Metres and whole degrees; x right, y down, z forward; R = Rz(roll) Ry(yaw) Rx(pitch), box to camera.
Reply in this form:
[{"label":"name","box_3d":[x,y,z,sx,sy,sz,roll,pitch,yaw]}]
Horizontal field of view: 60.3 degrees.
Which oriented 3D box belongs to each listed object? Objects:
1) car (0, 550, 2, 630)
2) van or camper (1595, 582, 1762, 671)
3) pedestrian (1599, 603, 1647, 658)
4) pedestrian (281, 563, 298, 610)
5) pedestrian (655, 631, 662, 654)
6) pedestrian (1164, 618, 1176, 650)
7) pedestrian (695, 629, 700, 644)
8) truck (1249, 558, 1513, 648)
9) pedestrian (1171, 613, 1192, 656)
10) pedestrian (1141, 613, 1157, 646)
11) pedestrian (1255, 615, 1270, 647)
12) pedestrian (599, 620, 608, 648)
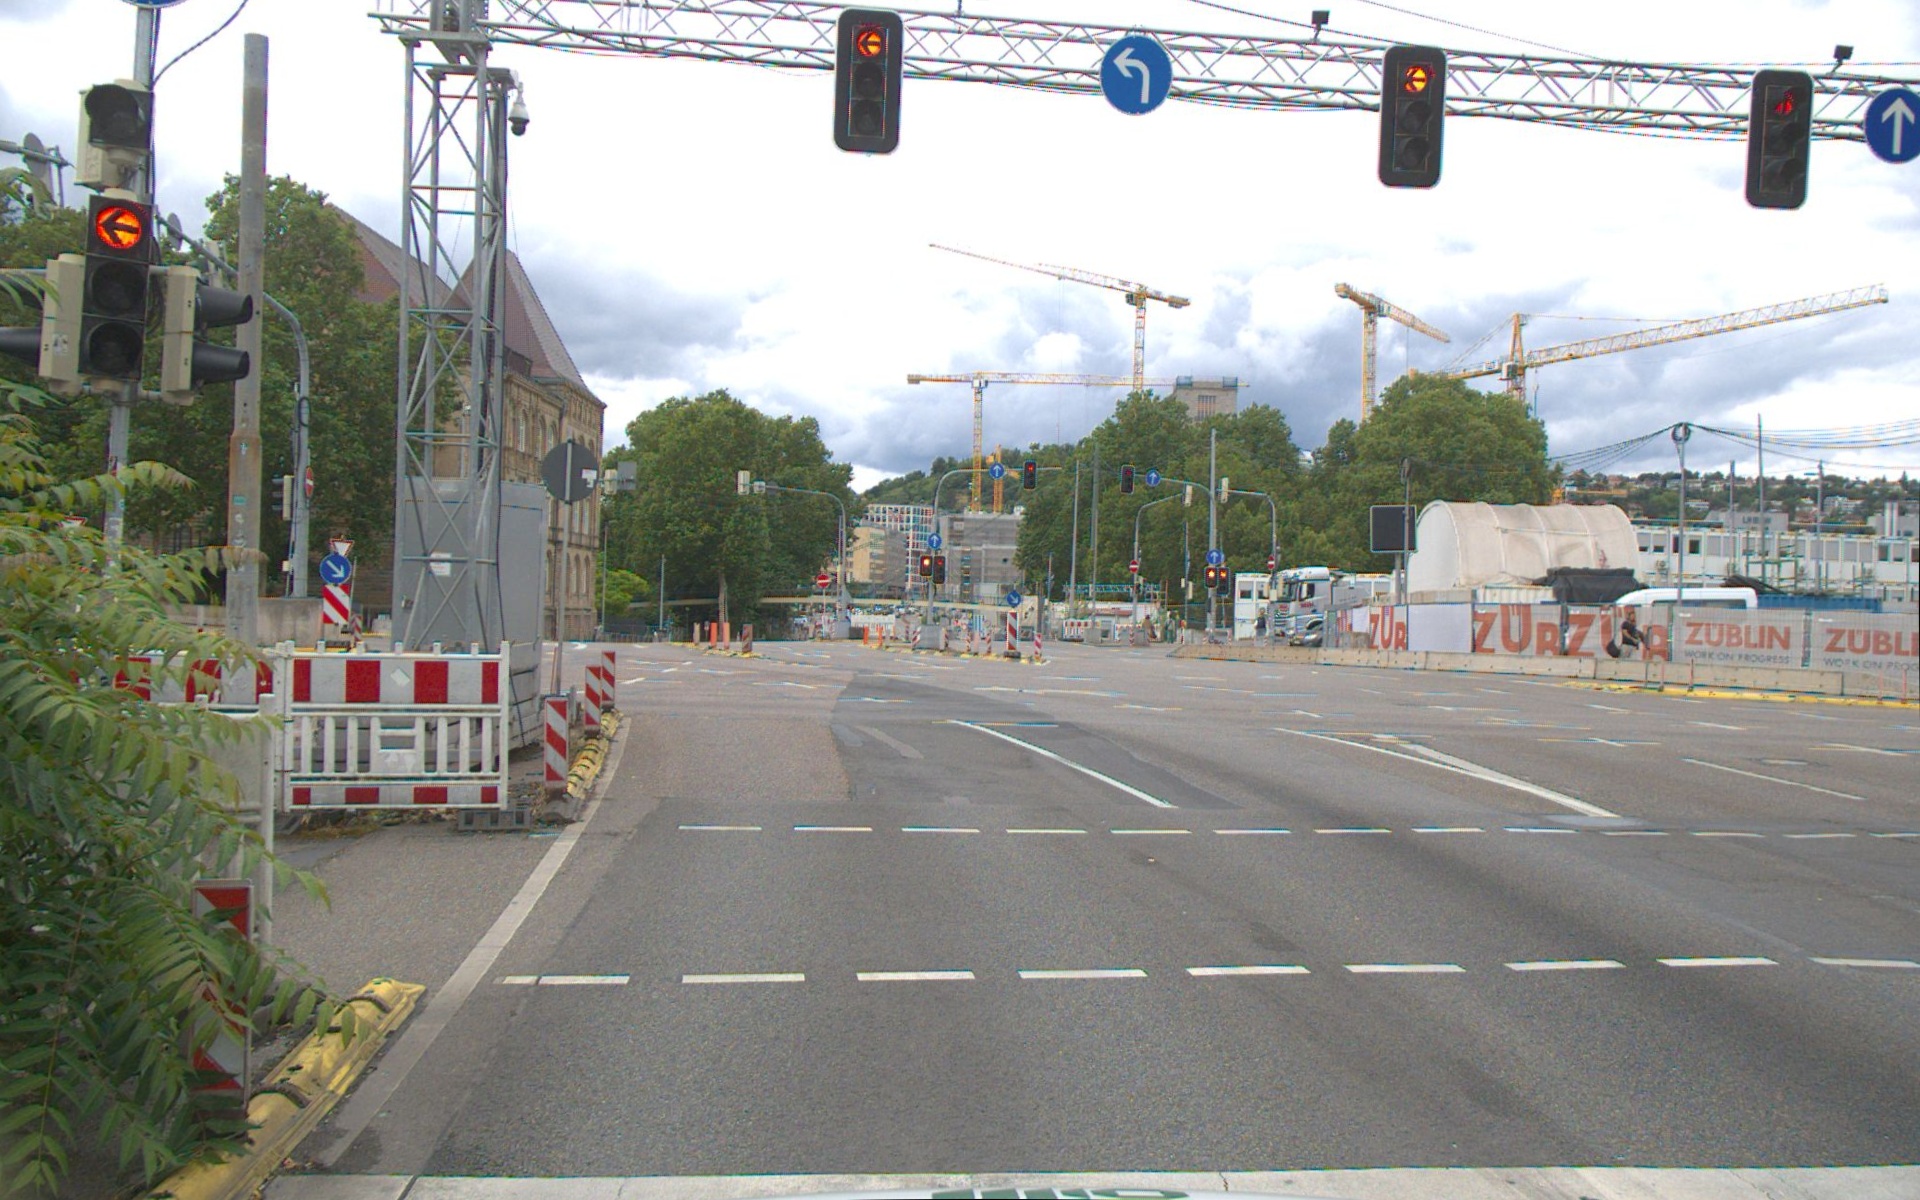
[{"label":"car","box_3d":[-19.703,-0.126,29.341,4.239,1.705,1.993,2,0,-14]},{"label":"van or camper","box_3d":[20.731,0.745,47.906,4.123,2.398,2.001,1,0,14]},{"label":"pedestrian","box_3d":[17.445,0.805,43.515,0.791,1.402,0.892,2,0,-39]},{"label":"pedestrian","box_3d":[-29.544,-0.613,72.881,0.523,2.049,0.421,2,0,-44]},{"label":"pedestrian","box_3d":[-28.016,3.934,153.488,0.513,2.049,0.566,1,0,-1]},{"label":"pedestrian","box_3d":[11.439,1.853,90.034,0.555,1.718,0.471,2,0,-1]},{"label":"pedestrian","box_3d":[-28.154,3.881,177.375,0.525,1.620,0.515,1,0,-5]},{"label":"truck","box_3d":[20.997,0.170,82.316,12.837,4.111,3.927,1,0,-21]},{"label":"pedestrian","box_3d":[9.066,1.409,67.632,0.714,1.718,0.677,2,0,-1]},{"label":"pedestrian","box_3d":[10.254,1.592,89.795,0.714,1.718,0.677,2,0,-1]},{"label":"pedestrian","box_3d":[16.386,1.679,89.621,0.609,1.718,0.710,2,0,28]},{"label":"pedestrian","box_3d":[-26.224,2.487,121.642,0.513,2.049,0.566,1,0,-1]}]
